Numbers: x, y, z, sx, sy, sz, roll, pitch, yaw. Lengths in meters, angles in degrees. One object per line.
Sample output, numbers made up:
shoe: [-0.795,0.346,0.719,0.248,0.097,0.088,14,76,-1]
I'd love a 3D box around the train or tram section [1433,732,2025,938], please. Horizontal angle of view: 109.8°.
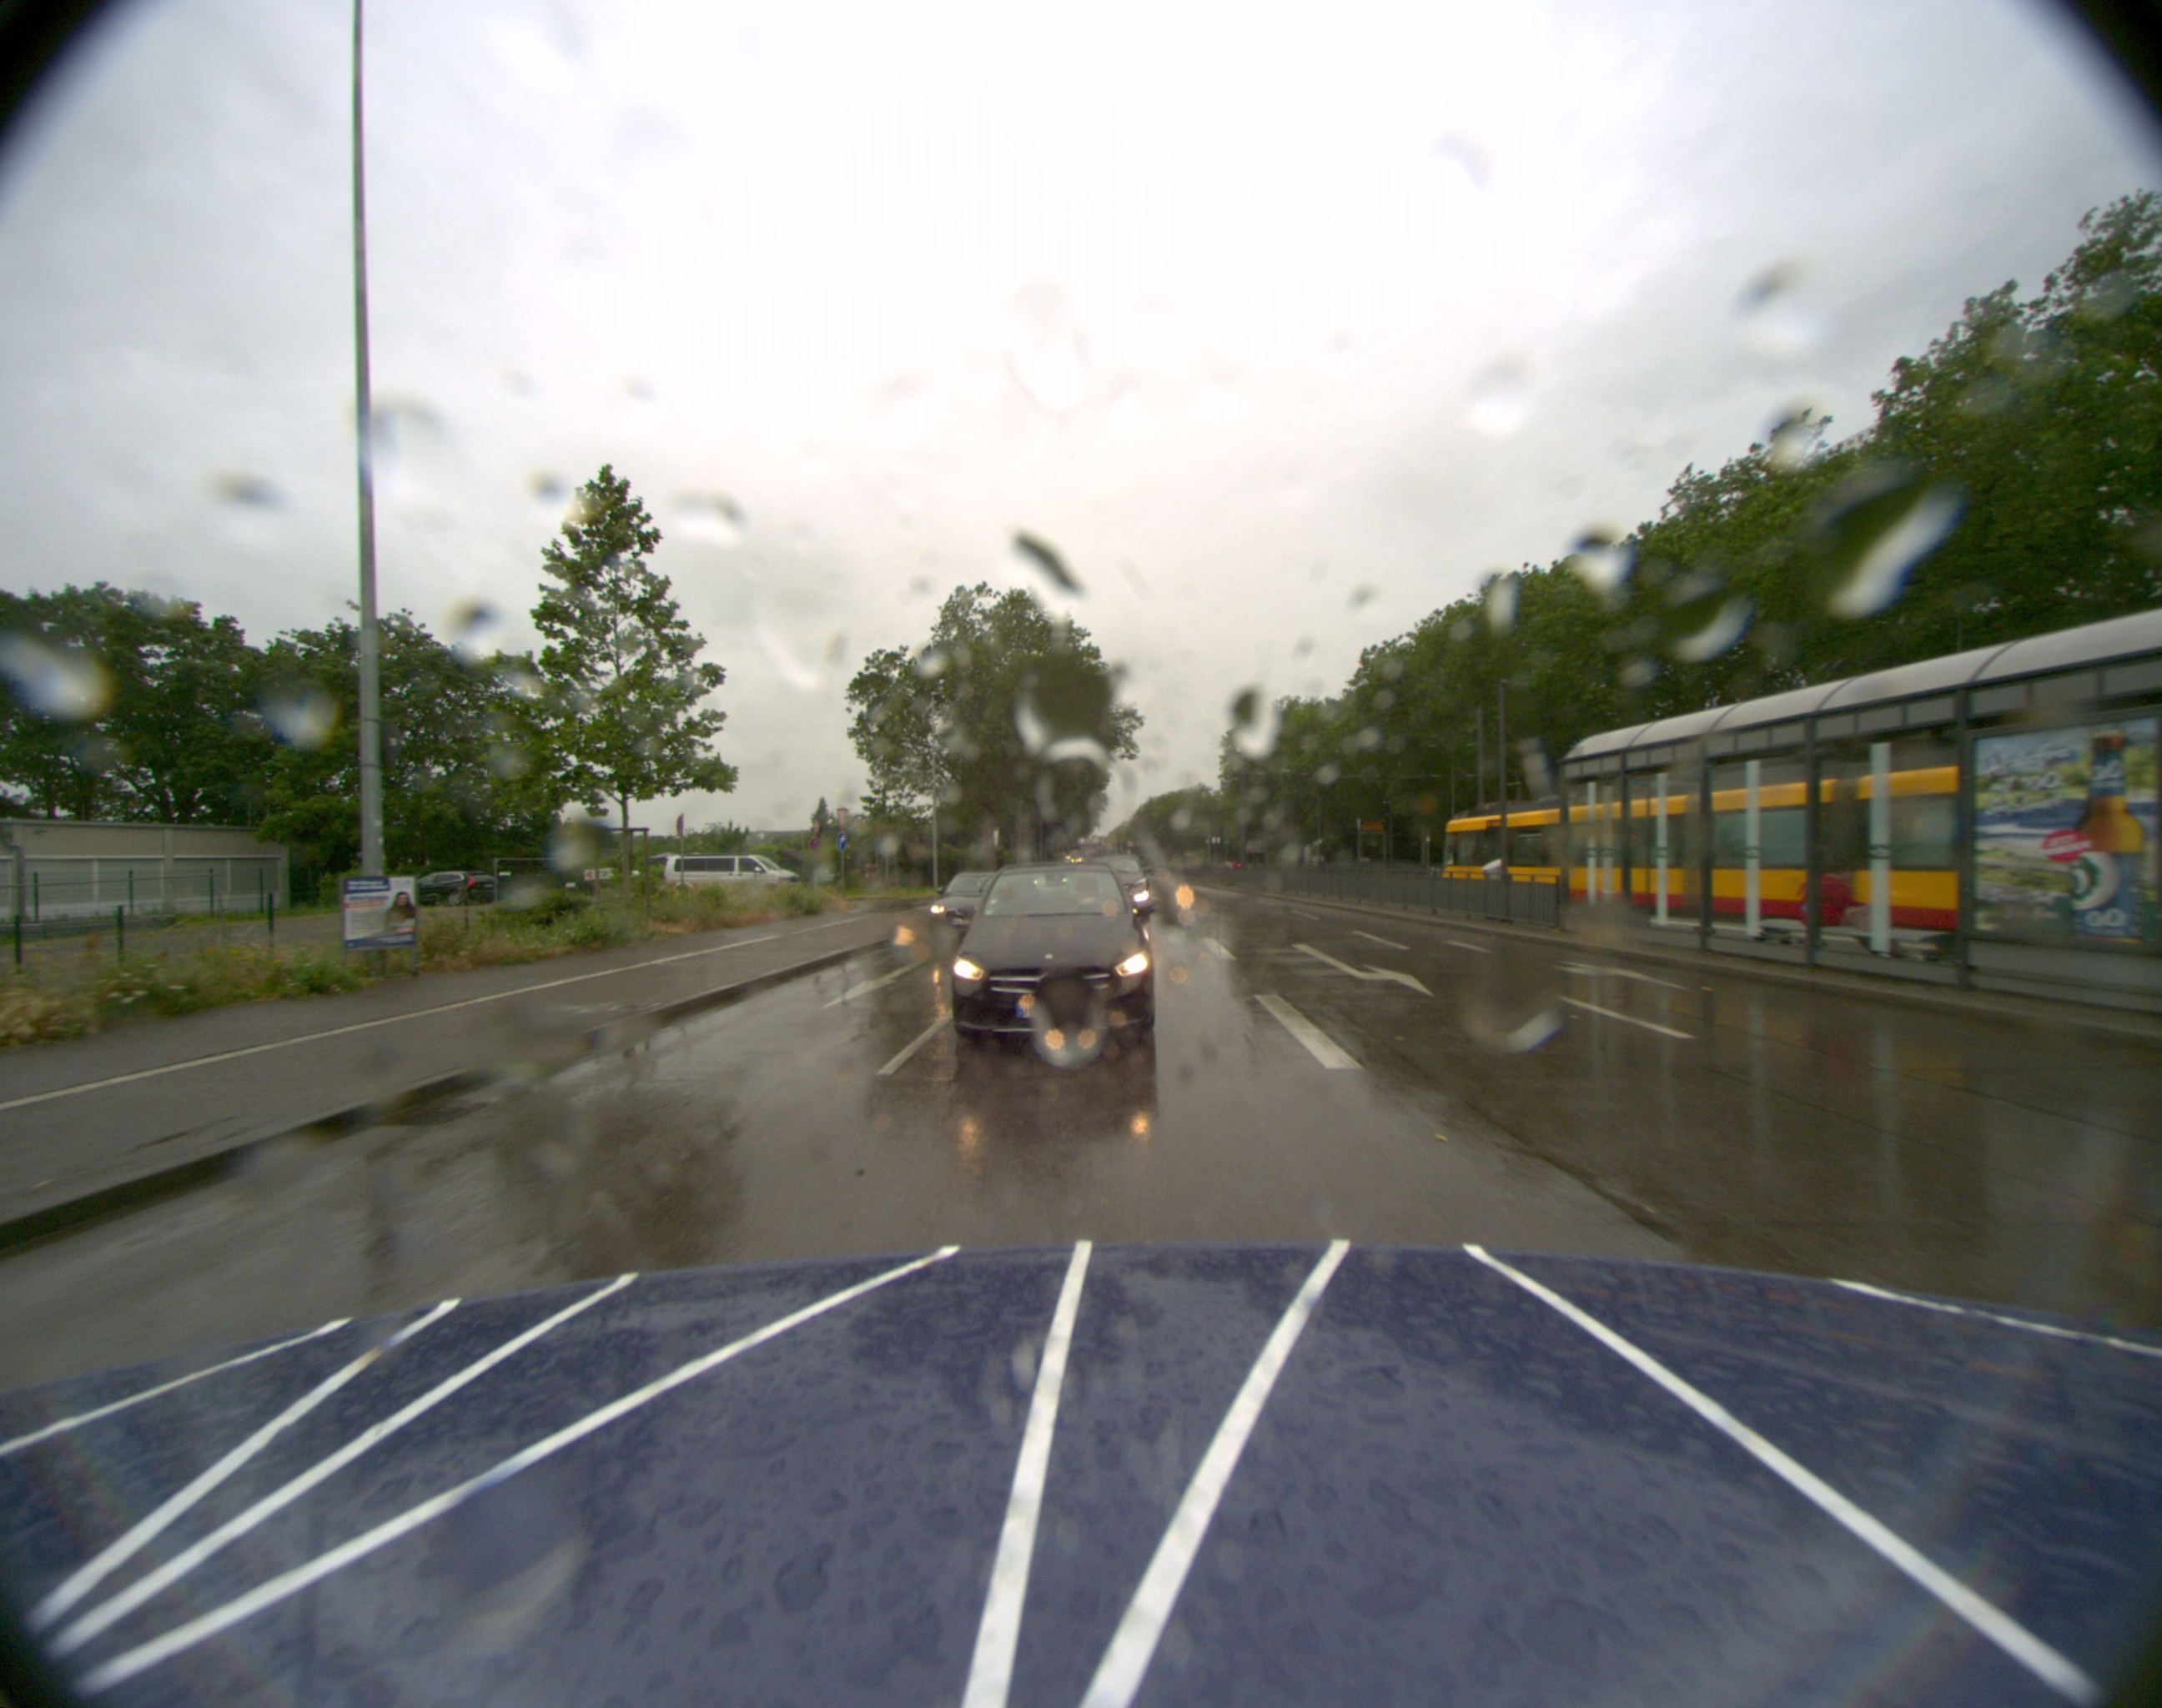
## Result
train or tram section: [15.980,-0.431,22.256,3.751,3.777,15.568,-2,1,-1]

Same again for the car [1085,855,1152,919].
car: [0.975,0.851,21.325,1.689,1.611,4.000,0,0,1]

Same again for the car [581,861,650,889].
car: [-29.403,1.338,48.053,3.552,1.575,1.345,-2,1,5]

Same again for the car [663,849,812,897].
car: [-14.123,0.738,31.498,5.175,1.715,2.006,-2,1,-2]

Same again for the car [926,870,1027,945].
car: [-2.187,1.099,16.768,1.601,1.358,3.631,0,1,2]

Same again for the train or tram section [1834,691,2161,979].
train or tram section: [16.258,-0.300,7.766,3.751,3.817,13.252,-2,1,-1]

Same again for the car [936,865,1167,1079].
car: [-0.371,0.940,8.000,1.759,1.572,4.167,-2,0,-4]

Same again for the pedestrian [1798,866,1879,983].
pedestrian: [8.335,0.763,8.375,0.458,1.229,0.467,-1,2,14]

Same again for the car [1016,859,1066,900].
car: [-1.657,1.046,32.638,1.706,1.499,3.879,-2,1,2]
